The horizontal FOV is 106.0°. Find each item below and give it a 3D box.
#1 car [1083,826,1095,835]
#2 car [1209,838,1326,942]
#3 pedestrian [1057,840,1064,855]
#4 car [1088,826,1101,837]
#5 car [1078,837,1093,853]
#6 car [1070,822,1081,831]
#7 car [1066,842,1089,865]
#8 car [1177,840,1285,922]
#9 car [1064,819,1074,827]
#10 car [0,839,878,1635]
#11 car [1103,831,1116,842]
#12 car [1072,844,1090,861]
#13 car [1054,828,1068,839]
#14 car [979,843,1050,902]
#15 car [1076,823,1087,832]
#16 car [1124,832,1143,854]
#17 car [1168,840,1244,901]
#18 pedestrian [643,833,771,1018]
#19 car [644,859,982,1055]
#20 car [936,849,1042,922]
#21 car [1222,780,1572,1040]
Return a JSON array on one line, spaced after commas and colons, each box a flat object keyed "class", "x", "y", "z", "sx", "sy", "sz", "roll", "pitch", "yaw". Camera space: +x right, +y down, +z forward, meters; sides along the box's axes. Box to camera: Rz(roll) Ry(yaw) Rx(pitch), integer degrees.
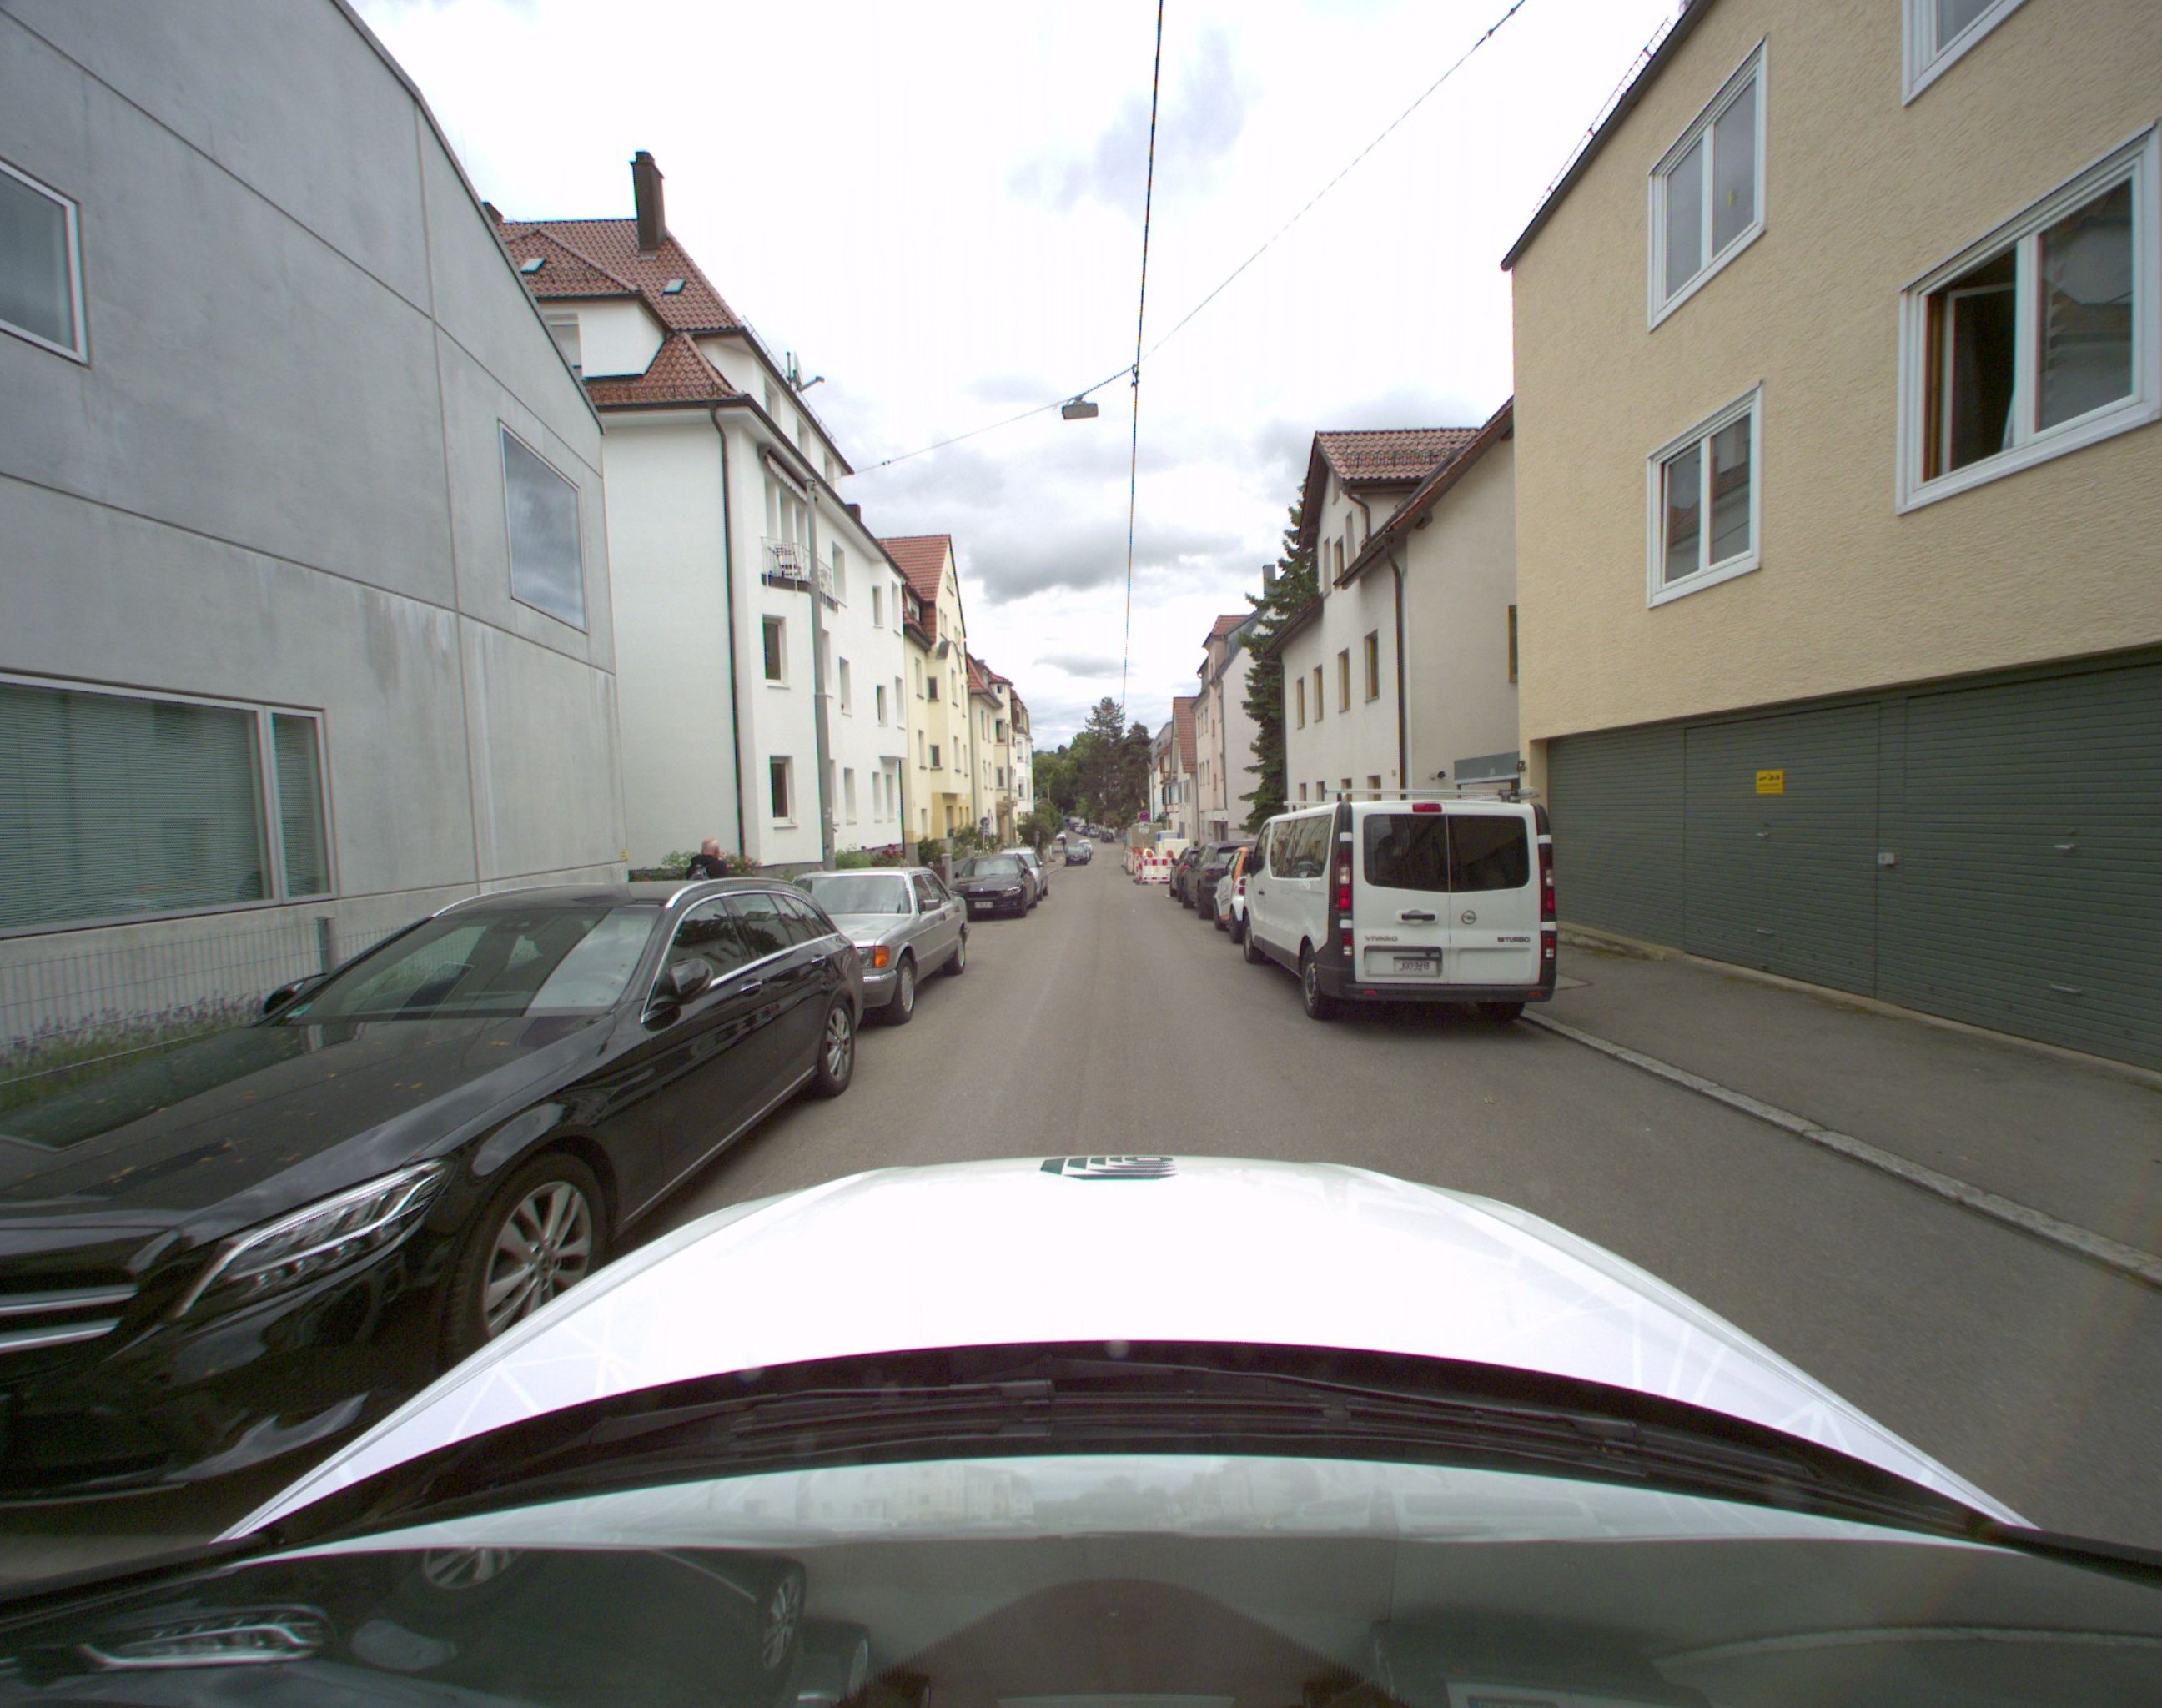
[{"class": "car", "x": 1.345, "y": -4.095, "z": 141.137, "sx": 1.633, "sy": 1.483, "sz": 3.523, "roll": -1, "pitch": 5, "yaw": -7}, {"class": "car", "x": 3.121, "y": 0.539, "z": 14.057, "sx": 1.481, "sy": 1.596, "sz": 2.793, "roll": 0, "pitch": 1, "yaw": 2}, {"class": "pedestrian", "x": -2.581, "y": -0.827, "z": 101.960, "sx": 0.787, "sy": 1.932, "sz": 0.920, "roll": -1, "pitch": 2, "yaw": 4}, {"class": "car", "x": 2.304, "y": -3.789, "z": 136.571, "sx": 1.633, "sy": 1.483, "sz": 3.523, "roll": -1, "pitch": 5, "yaw": -7}, {"class": "car", "x": 0.592, "y": -1.090, "z": 98.241, "sx": 1.666, "sy": 1.656, "sz": 3.865, "roll": -3, "pitch": 4, "yaw": 1}, {"class": "car", "x": -0.981, "y": -5.124, "z": 153.033, "sx": 1.633, "sy": 1.537, "sz": 3.523, "roll": -1, "pitch": 5, "yaw": -7}, {"class": "car", "x": -0.334, "y": -0.105, "z": 69.365, "sx": 1.840, "sy": 1.815, "sz": 4.542, "roll": -3, "pitch": 1, "yaw": -1}, {"class": "car", "x": 3.251, "y": 0.495, "z": 18.453, "sx": 1.707, "sy": 1.596, "sz": 4.500, "roll": 0, "pitch": 1, "yaw": 1}, {"class": "car", "x": -2.418, "y": -6.409, "z": 167.594, "sx": 1.633, "sy": 1.537, "sz": 3.523, "roll": -1, "pitch": 5, "yaw": -7}, {"class": "car", "x": -2.482, "y": 0.764, "z": 3.815, "sx": 1.890, "sy": 1.527, "sz": 4.470, "roll": -2, "pitch": 0, "yaw": 0}, {"class": "car", "x": 4.353, "y": -2.720, "z": 124.667, "sx": 1.632, "sy": 1.483, "sz": 3.524, "roll": -1, "pitch": 5, "yaw": -6}, {"class": "car", "x": 0.012, "y": -0.168, "z": 79.719, "sx": 1.636, "sy": 1.416, "sz": 3.985, "roll": -3, "pitch": 1, "yaw": 1}, {"class": "car", "x": -3.313, "y": -3.352, "z": 134.076, "sx": 1.673, "sy": 1.656, "sz": 3.850, "roll": -4, "pitch": 4, "yaw": -11}, {"class": "car", "x": -2.010, "y": 0.506, "z": 25.678, "sx": 1.839, "sy": 1.631, "sz": 4.286, "roll": -2, "pitch": 0, "yaw": 0}, {"class": "car", "x": 0.065, "y": -4.789, "z": 147.176, "sx": 1.633, "sy": 1.537, "sz": 3.523, "roll": -1, "pitch": 5, "yaw": -7}, {"class": "car", "x": 6.048, "y": -1.300, "z": 94.346, "sx": 1.973, "sy": 2.362, "sz": 4.278, "roll": -2, "pitch": 2, "yaw": 1}, {"class": "car", "x": 3.480, "y": 0.399, "z": 23.311, "sx": 1.708, "sy": 1.565, "sz": 4.076, "roll": 0, "pitch": 1, "yaw": 2}, {"class": "pedestrian", "x": -4.059, "y": 0.739, "z": 8.872, "sx": 0.809, "sy": 1.884, "sz": 0.852, "roll": -2, "pitch": 1, "yaw": 24}, {"class": "car", "x": -2.427, "y": 0.828, "z": 8.966, "sx": 1.838, "sy": 1.413, "sz": 5.064, "roll": -2, "pitch": 0, "yaw": 2}, {"class": "car", "x": -2.089, "y": 0.672, "z": 19.820, "sx": 1.838, "sy": 1.457, "sz": 4.507, "roll": -3, "pitch": 0, "yaw": 2}, {"class": "car", "x": 2.982, "y": 0.376, "z": 9.265, "sx": 1.898, "sy": 2.029, "sz": 5.735, "roll": 0, "pitch": 1, "yaw": 2}]
